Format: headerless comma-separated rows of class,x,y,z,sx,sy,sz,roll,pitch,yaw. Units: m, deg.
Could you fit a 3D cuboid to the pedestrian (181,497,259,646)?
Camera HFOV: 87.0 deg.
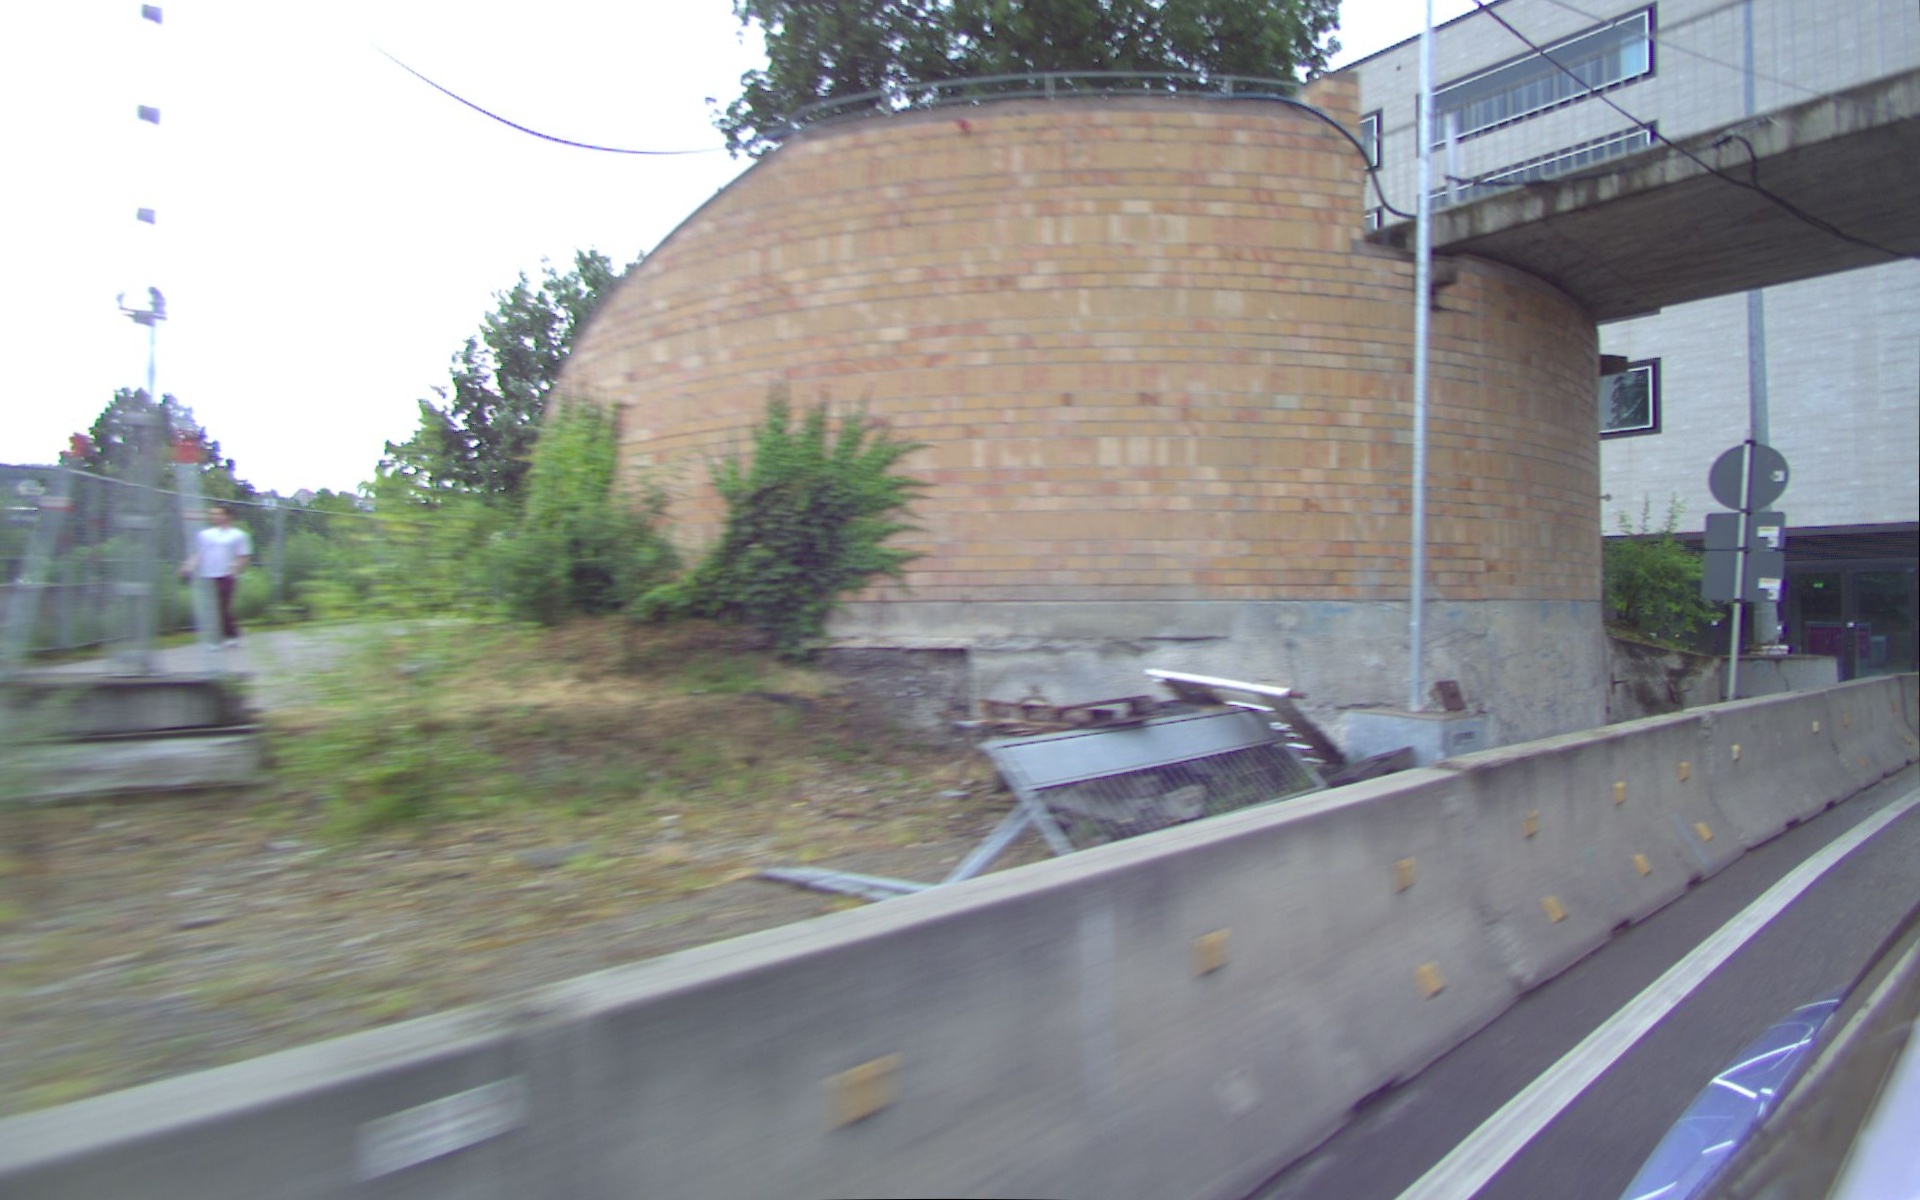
pedestrian,-9.329,-0.350,12.789,0.678,1.800,0.816,0,0,-28
